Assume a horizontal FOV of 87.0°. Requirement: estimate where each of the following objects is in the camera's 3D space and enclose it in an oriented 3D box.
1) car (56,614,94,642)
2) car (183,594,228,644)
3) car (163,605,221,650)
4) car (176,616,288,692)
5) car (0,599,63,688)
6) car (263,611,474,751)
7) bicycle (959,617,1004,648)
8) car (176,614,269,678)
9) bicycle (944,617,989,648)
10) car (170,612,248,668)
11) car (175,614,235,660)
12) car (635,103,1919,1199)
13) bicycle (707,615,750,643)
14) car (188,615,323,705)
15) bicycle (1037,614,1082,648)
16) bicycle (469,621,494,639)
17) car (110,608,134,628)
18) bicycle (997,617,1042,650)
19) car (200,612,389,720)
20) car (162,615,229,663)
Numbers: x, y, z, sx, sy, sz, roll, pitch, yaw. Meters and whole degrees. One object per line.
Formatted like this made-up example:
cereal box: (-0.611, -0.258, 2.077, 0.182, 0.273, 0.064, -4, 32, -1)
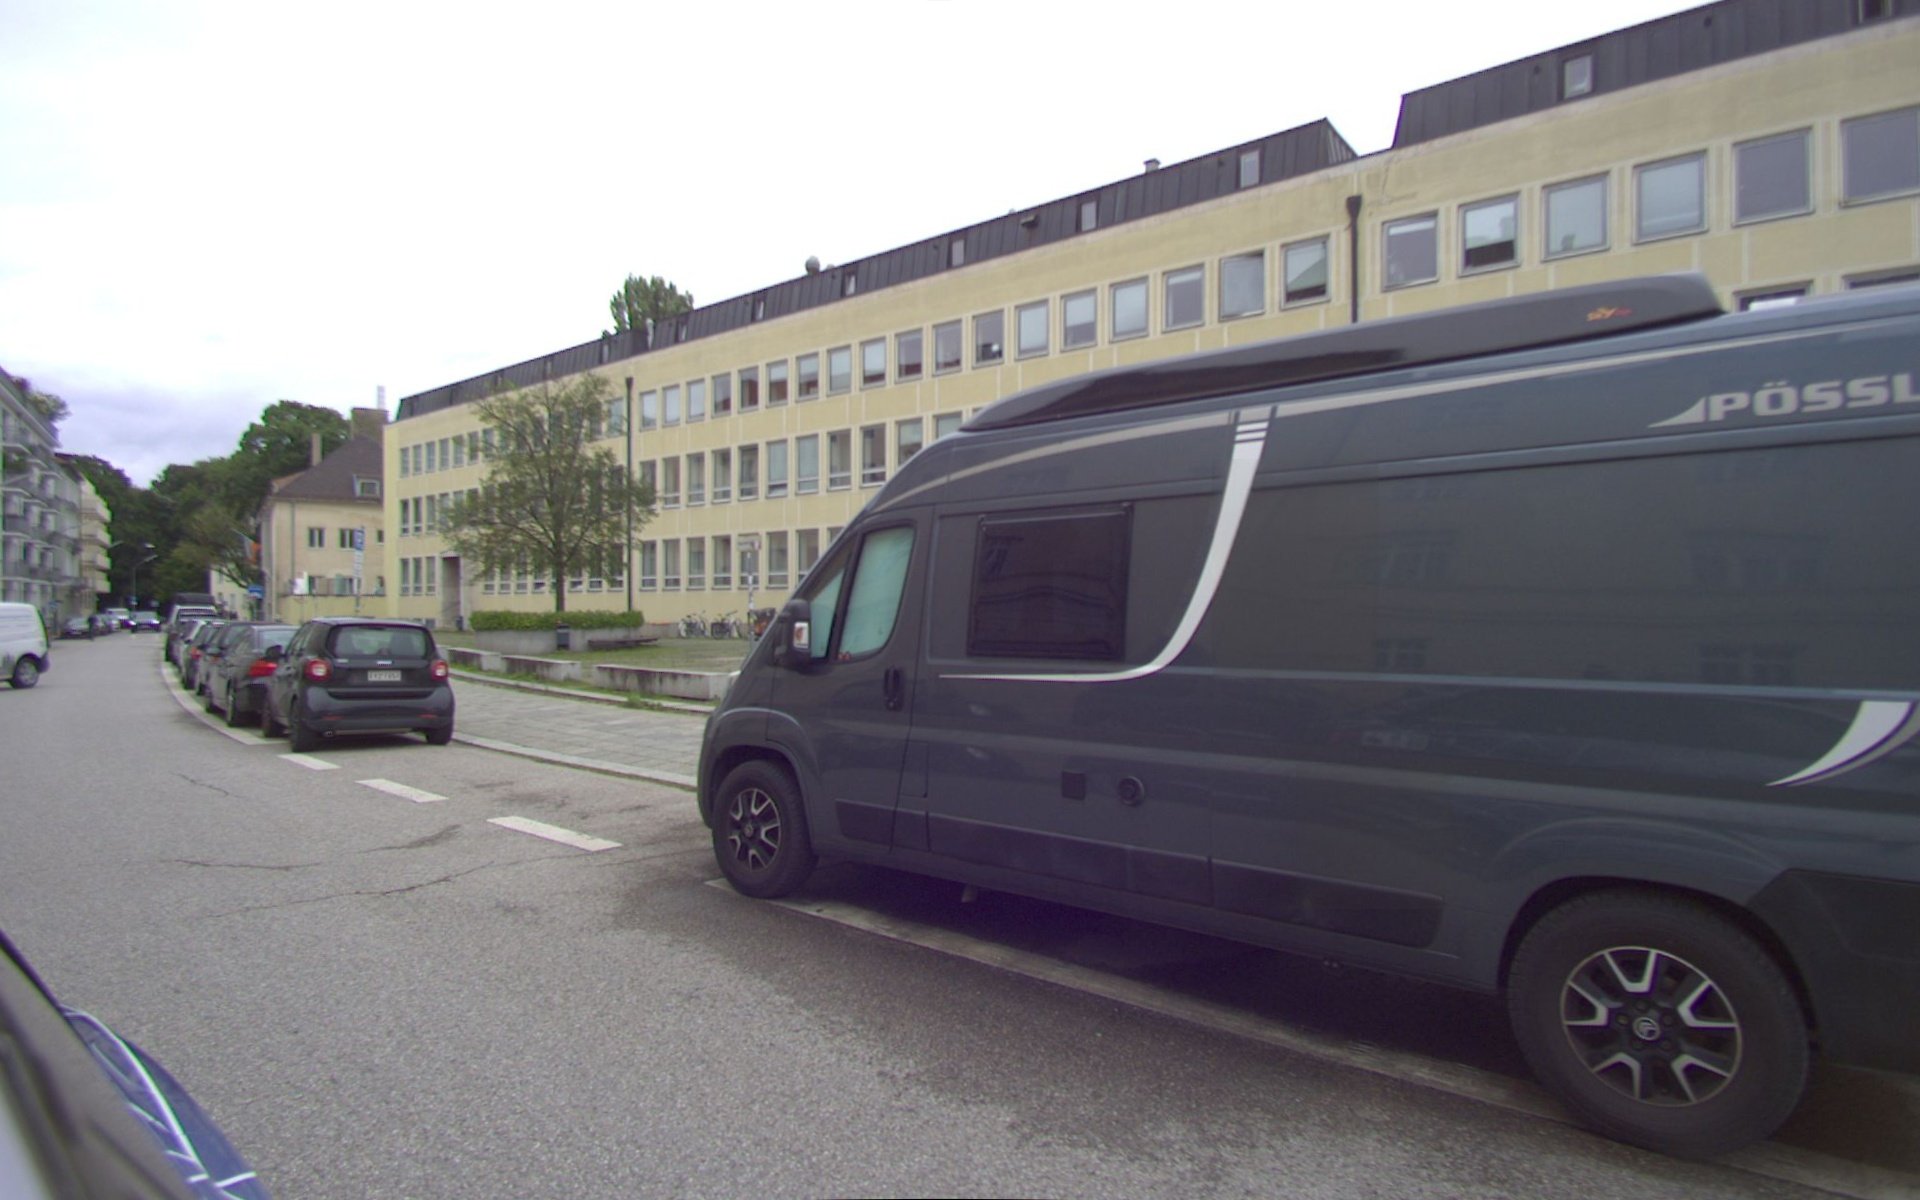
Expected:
car: (-59.390, 1.844, 67.925, 1.614, 1.749, 3.888, -2, 1, -37)
car: (-43.599, 1.063, 58.425, 1.967, 2.738, 4.970, 1, -1, -37)
car: (-36.037, 1.241, 47.448, 1.919, 1.991, 4.363, 2, -1, -40)
car: (-16.443, 1.150, 22.773, 1.699, 1.492, 4.212, 2, -2, -40)
car: (-20.045, 0.847, 19.508, 1.854, 1.785, 4.936, 1, -1, -11)
car: (-7.317, 0.911, 12.431, 1.646, 1.471, 2.872, 4, -3, -42)
bicycle: (0.724, 1.056, 33.063, 0.437, 0.924, 1.884, -1, 1, 37)
car: (-19.779, 1.179, 27.075, 1.699, 1.541, 4.007, 2, -2, -40)
bicycle: (0.225, 1.051, 33.442, 0.437, 0.924, 1.884, -1, 1, 37)
car: (-23.677, 1.197, 31.860, 1.718, 1.557, 4.090, -2, 1, -40)
car: (-29.795, 1.421, 39.915, 1.718, 1.701, 4.130, 2, -1, -39)
car: (1.271, 0.176, 4.504, 6.205, 2.594, 2.122, -1, -2, 39)
bicycle: (-9.567, 1.188, 41.855, 0.574, 1.036, 1.815, -1, 1, 36)
car: (-13.278, 1.051, 18.986, 1.699, 1.492, 3.760, 2, -2, -40)
bicycle: (3.087, 0.942, 31.254, 0.437, 0.924, 1.884, -1, 1, 37)
bicycle: (-26.102, 1.627, 55.247, 0.288, 0.909, 1.228, -1, 1, 37)
car: (-80.882, 1.706, 97.707, 1.614, 1.749, 3.888, -2, 1, -37)
bicycle: (1.900, 1.049, 32.200, 0.437, 0.924, 1.884, -1, 1, 37)
car: (-10.138, 0.918, 15.279, 1.700, 1.374, 4.217, 4, -3, -42)
car: (-26.603, 1.298, 35.181, 1.718, 1.478, 3.693, -2, 1, -39)
